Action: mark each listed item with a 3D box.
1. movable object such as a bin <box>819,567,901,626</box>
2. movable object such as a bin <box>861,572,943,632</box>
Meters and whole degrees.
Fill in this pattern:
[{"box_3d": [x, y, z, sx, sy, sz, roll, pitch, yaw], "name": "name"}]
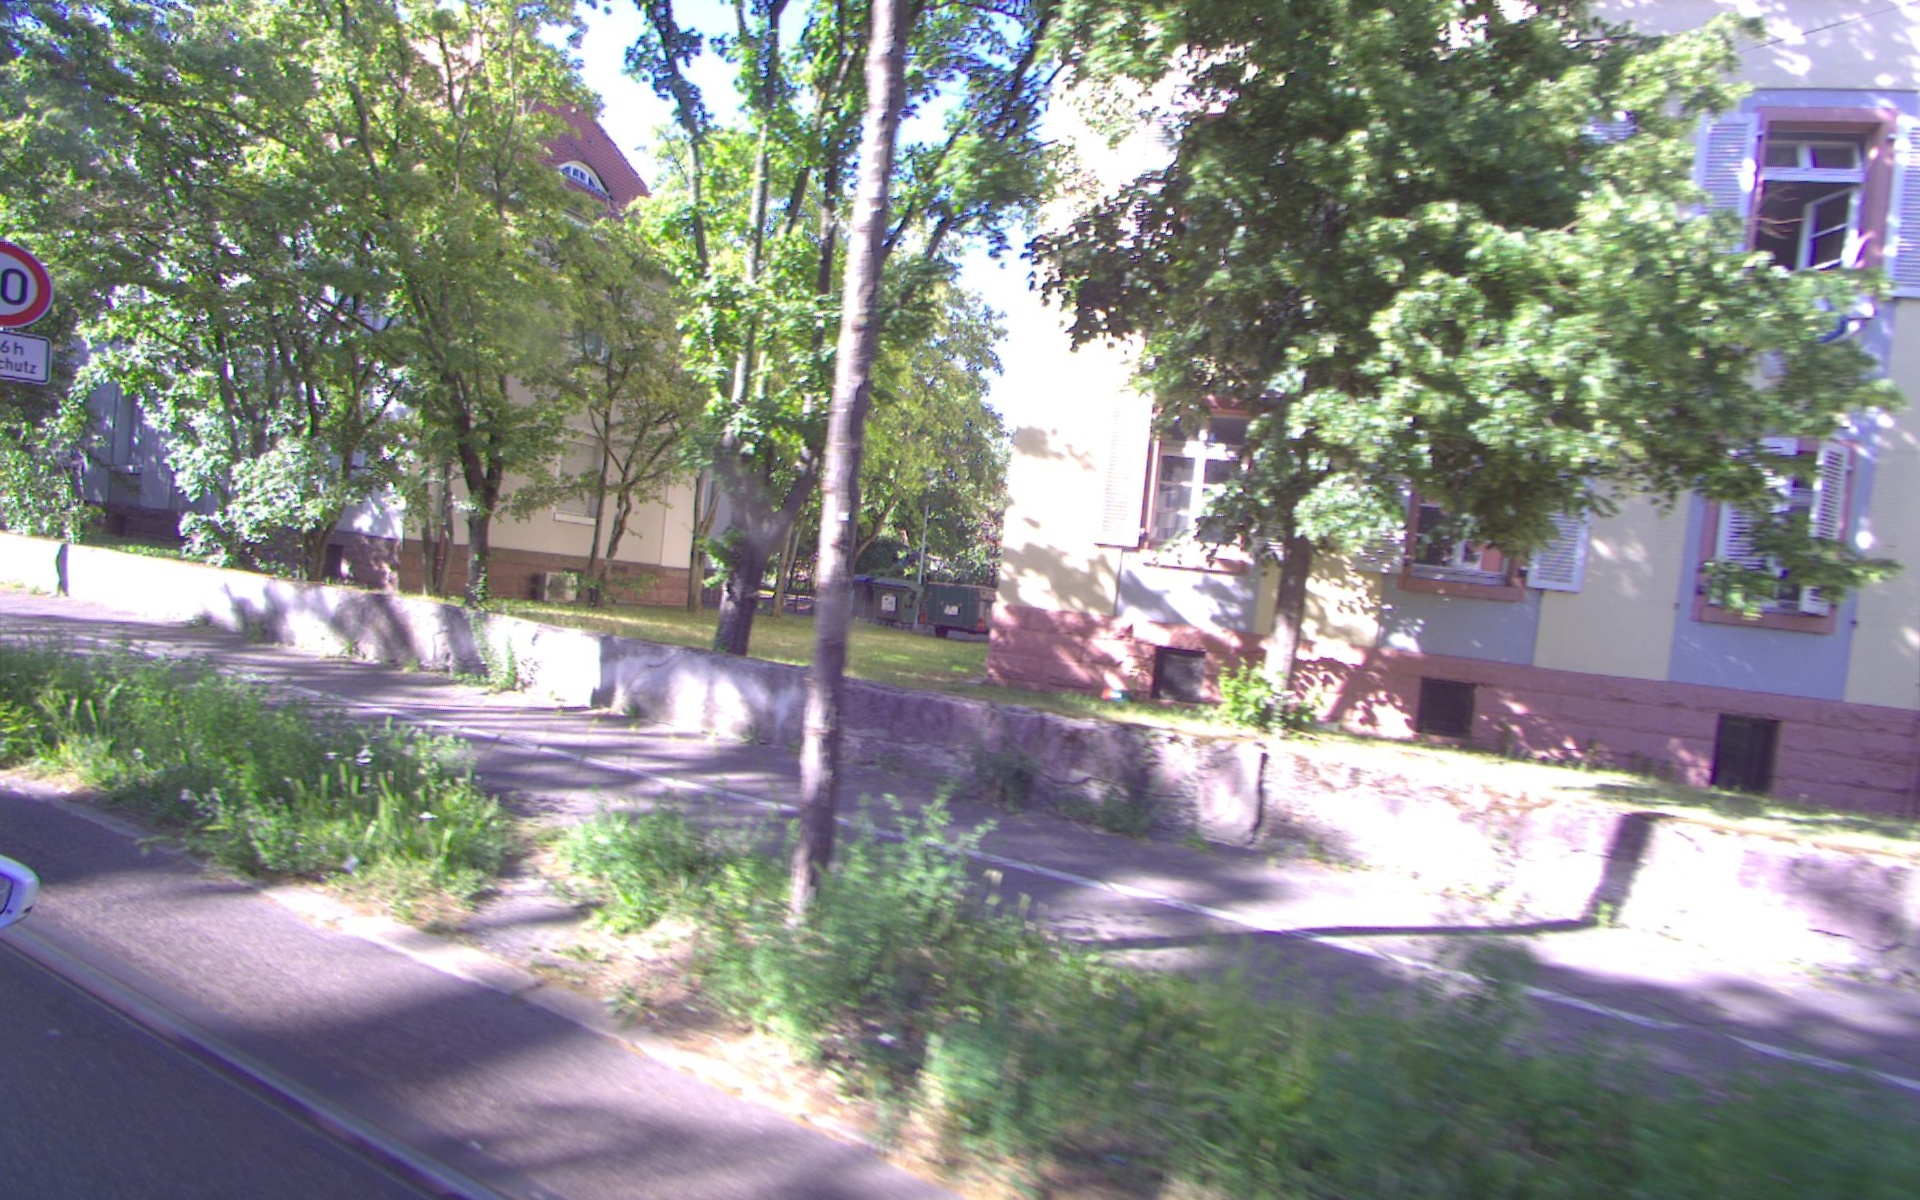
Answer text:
[{"box_3d": [-3.014, -0.087, 30.716, 1.460, 1.459, 2.233, 7, -2, 23], "name": "movable object such as a bin"}, {"box_3d": [-1.697, 0.088, 30.111, 1.460, 1.459, 2.233, 7, -2, 23], "name": "movable object such as a bin"}]
